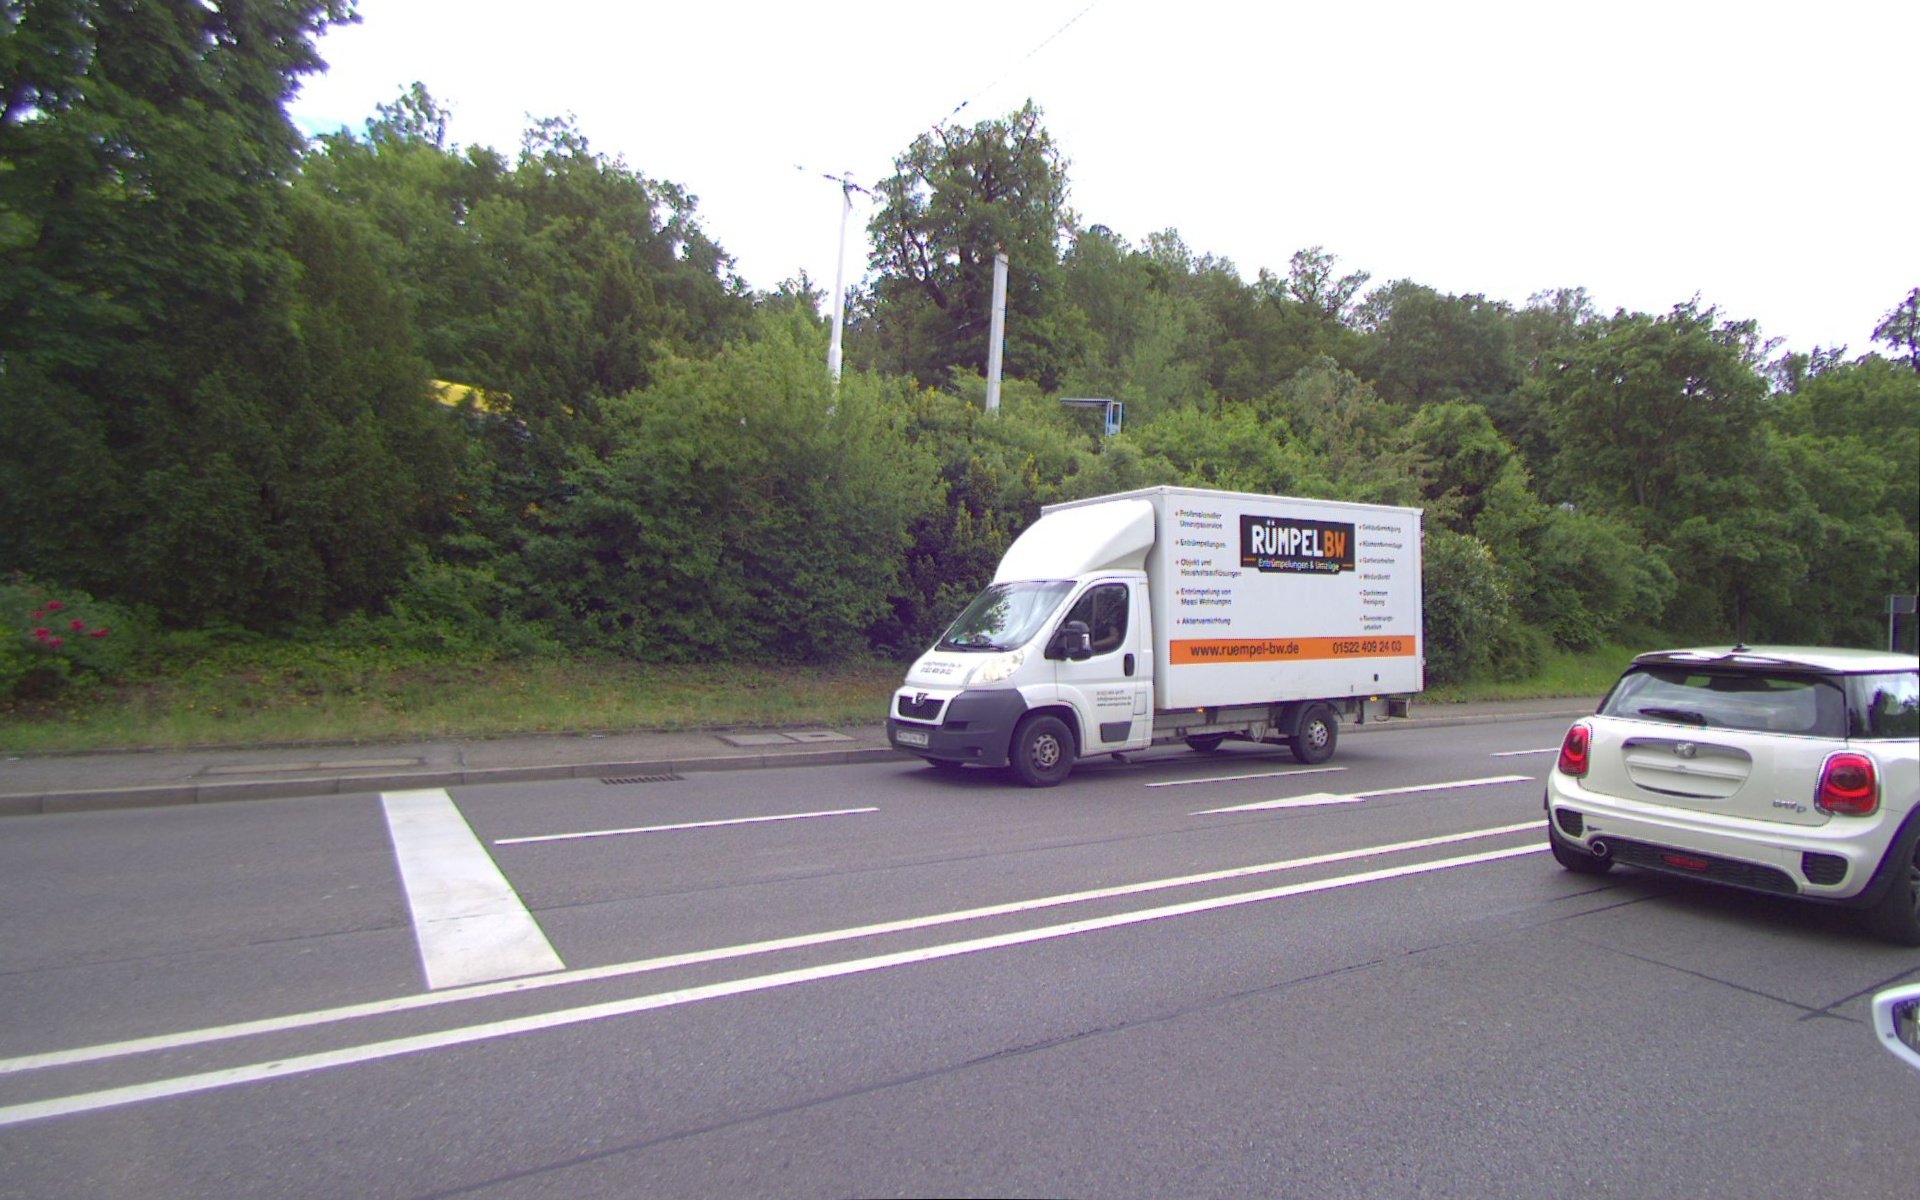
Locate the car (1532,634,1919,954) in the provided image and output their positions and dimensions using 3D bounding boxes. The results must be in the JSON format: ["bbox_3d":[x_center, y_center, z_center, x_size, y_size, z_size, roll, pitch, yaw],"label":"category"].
[{"bbox_3d":[5.275,0.953,6.164,3.527,1.411,1.619,2,-2,-32],"label":"car"}]

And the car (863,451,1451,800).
[{"bbox_3d":[2.600,0.338,11.794,7.157,3.096,2.257,2,-1,-33],"label":"car"}]

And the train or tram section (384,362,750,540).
[{"bbox_3d":[-9.447,-3.407,24.818,8.072,3.083,2.043,4,-1,-35],"label":"train or tram section"}]
